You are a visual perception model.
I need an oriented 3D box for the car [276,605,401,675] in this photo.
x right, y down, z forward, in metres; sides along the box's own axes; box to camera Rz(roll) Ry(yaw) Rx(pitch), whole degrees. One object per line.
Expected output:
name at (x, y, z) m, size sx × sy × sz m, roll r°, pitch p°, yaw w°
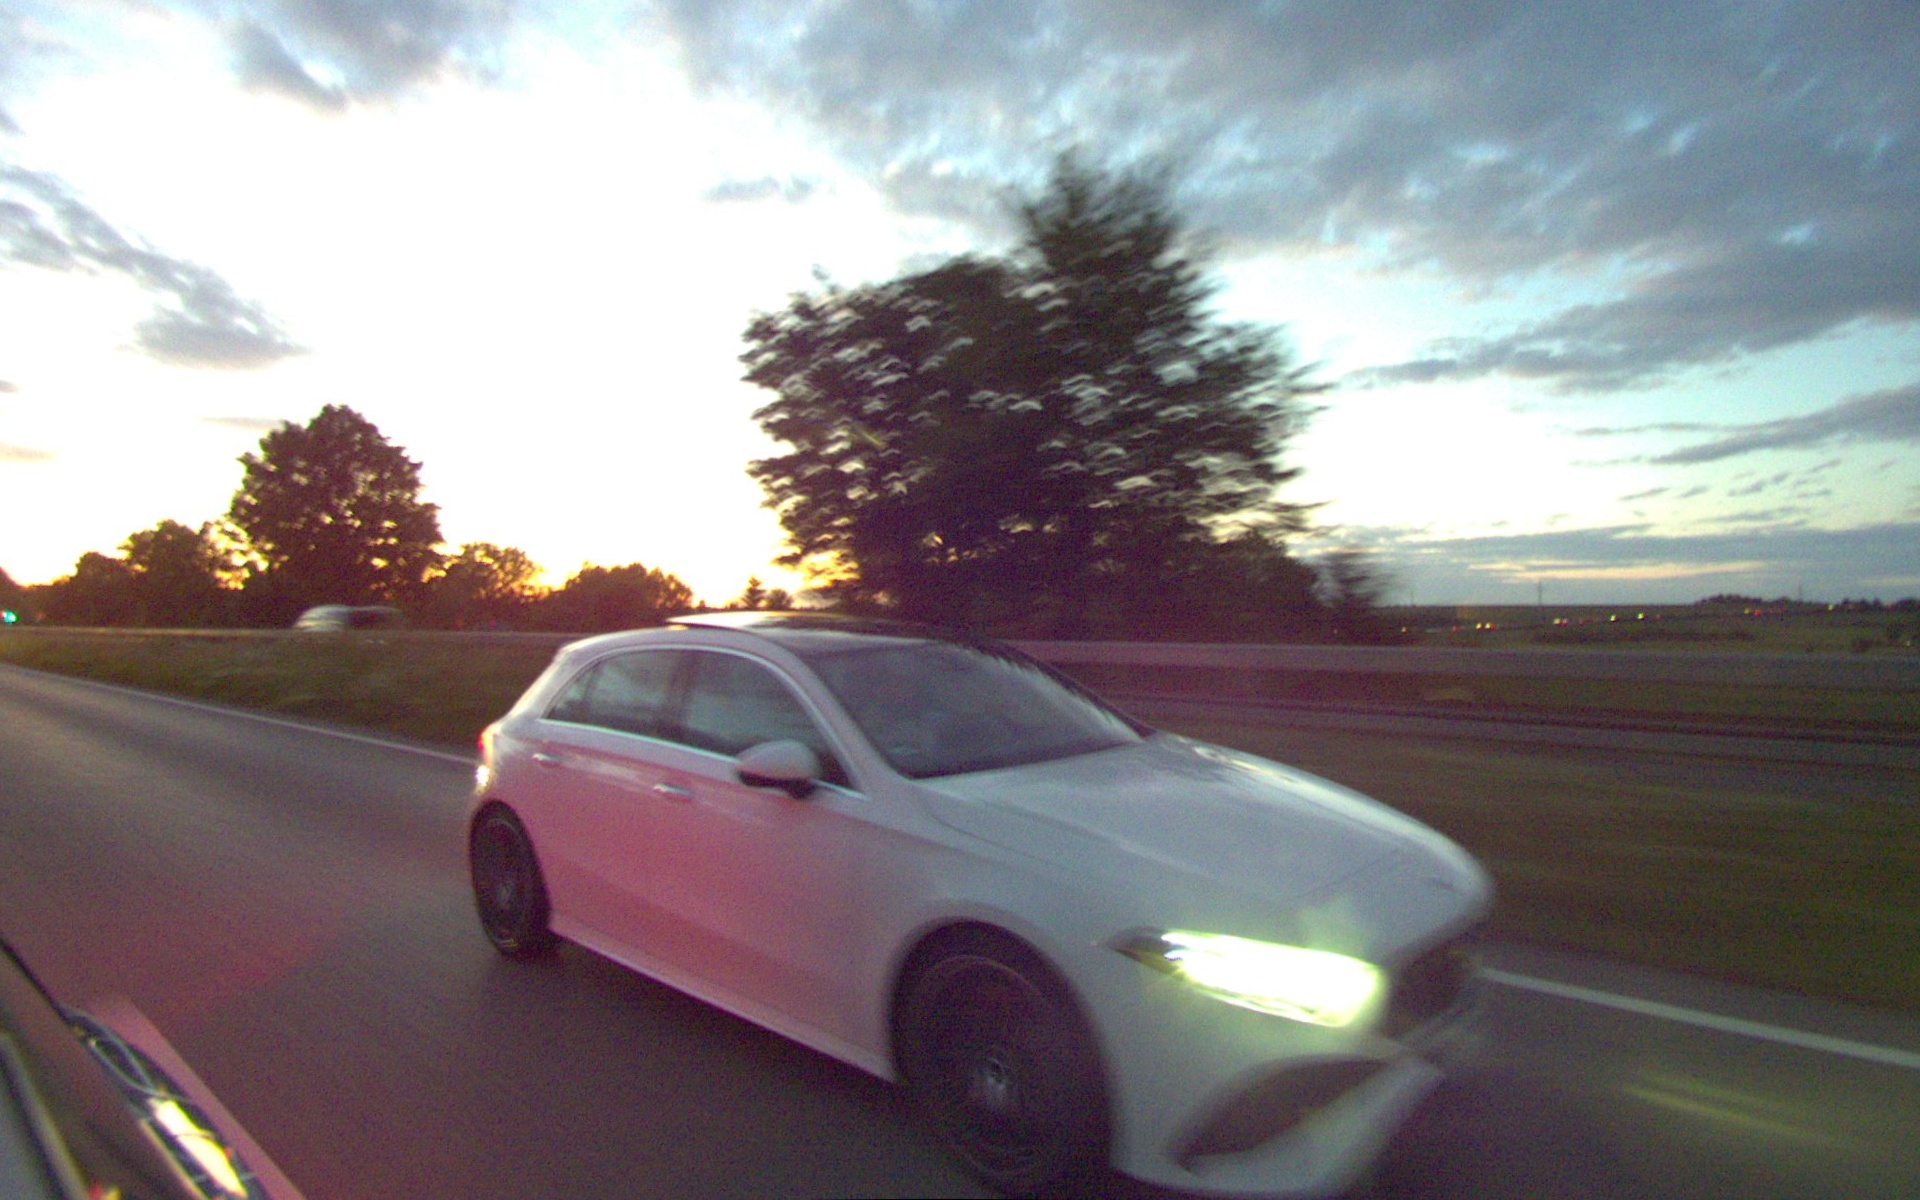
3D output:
car at (-20.454, 1.243, 33.217) m, size 5.344 × 2.115 × 1.945 m, roll -1°, pitch 0°, yaw 40°

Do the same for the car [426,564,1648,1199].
car at (-0.258, 0.712, 3.840) m, size 4.578 × 1.502 × 1.625 m, roll -1°, pitch 0°, yaw 42°
